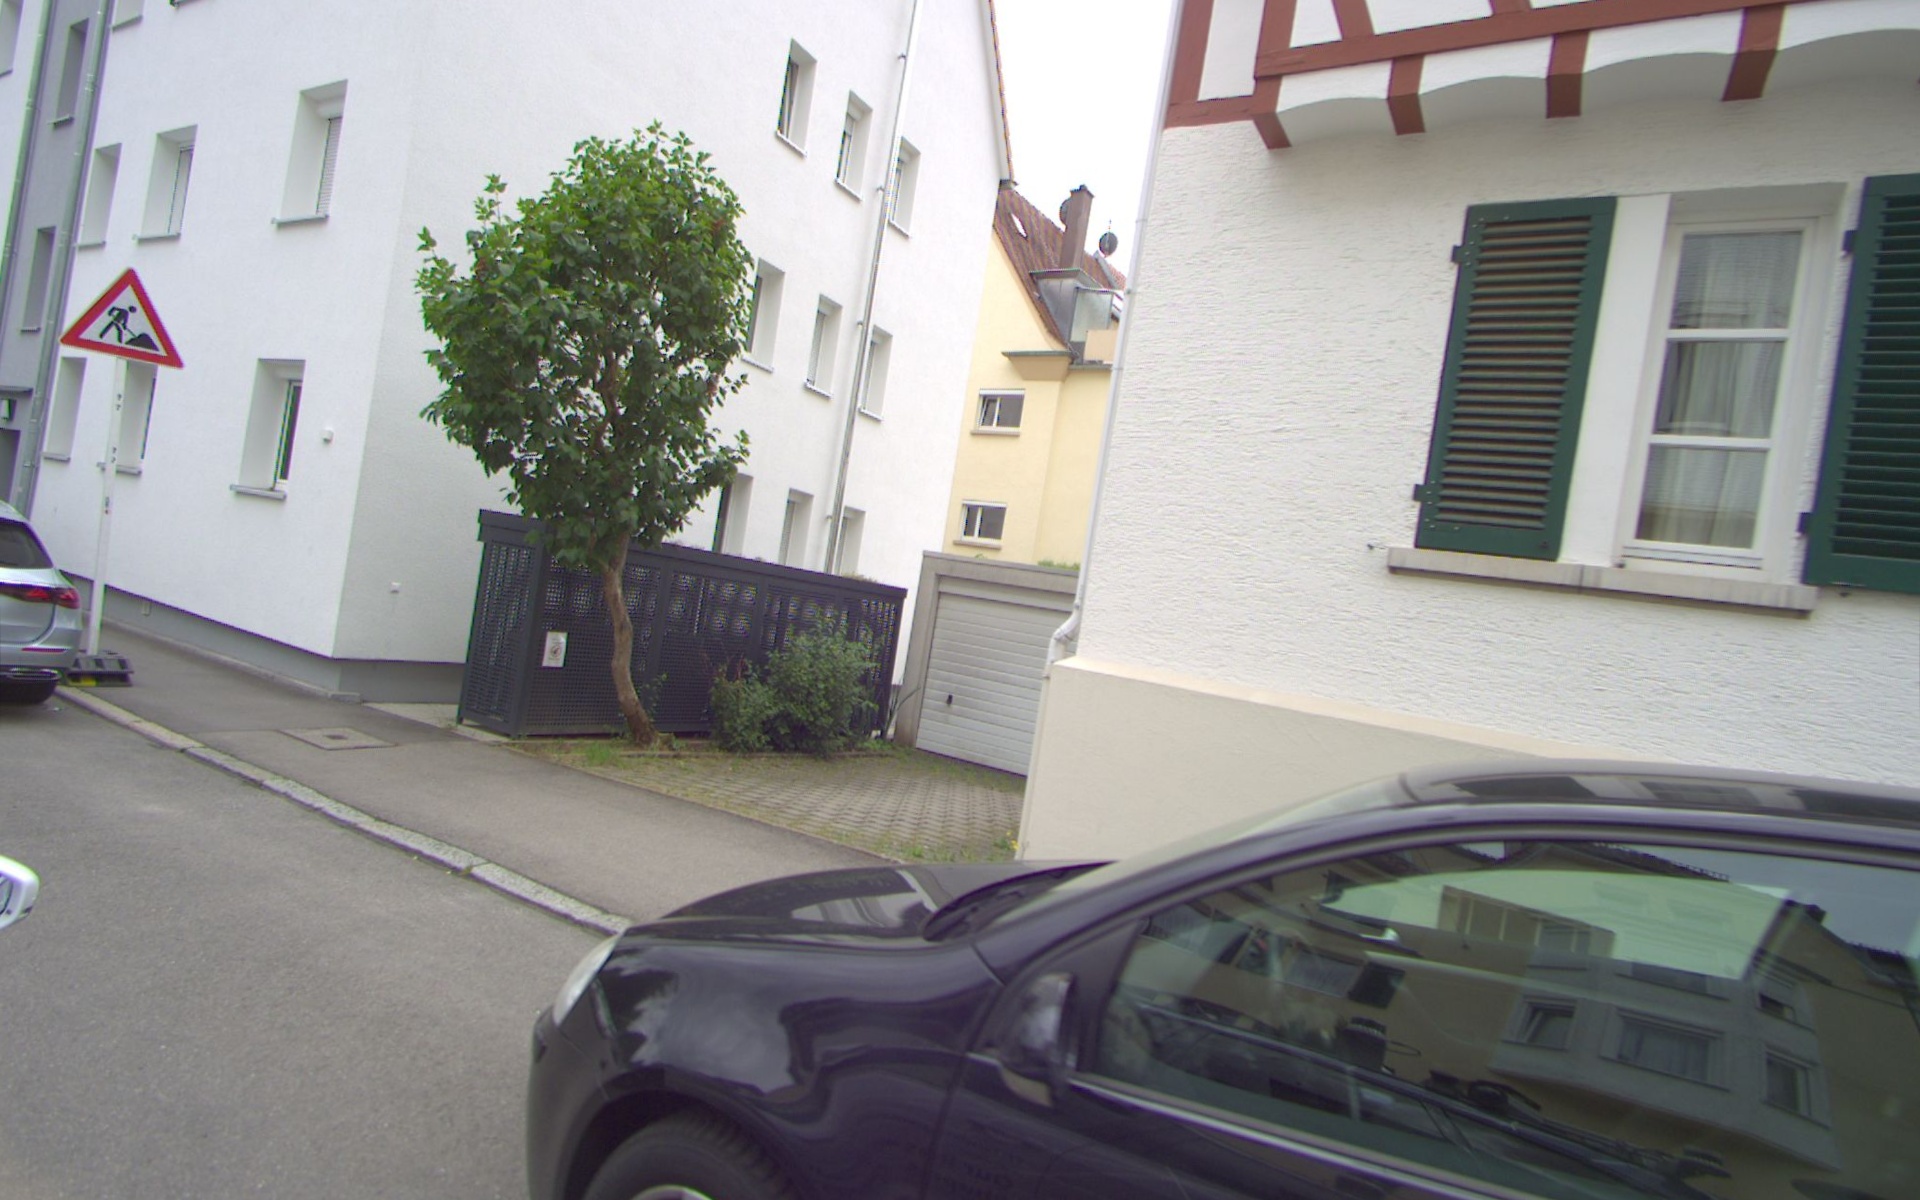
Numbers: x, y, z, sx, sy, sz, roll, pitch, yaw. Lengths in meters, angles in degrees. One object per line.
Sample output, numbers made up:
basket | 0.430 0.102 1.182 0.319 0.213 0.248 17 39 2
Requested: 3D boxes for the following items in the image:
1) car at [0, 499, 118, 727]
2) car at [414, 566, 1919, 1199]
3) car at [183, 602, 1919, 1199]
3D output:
car | -8.222 -0.184 7.346 4.311 1.461 1.829 7 -2 32
car | 1.043 0.976 1.735 3.956 1.506 1.609 7 -2 31
car | 0.535 1.236 1.935 3.931 1.740 1.781 9 -1 29
